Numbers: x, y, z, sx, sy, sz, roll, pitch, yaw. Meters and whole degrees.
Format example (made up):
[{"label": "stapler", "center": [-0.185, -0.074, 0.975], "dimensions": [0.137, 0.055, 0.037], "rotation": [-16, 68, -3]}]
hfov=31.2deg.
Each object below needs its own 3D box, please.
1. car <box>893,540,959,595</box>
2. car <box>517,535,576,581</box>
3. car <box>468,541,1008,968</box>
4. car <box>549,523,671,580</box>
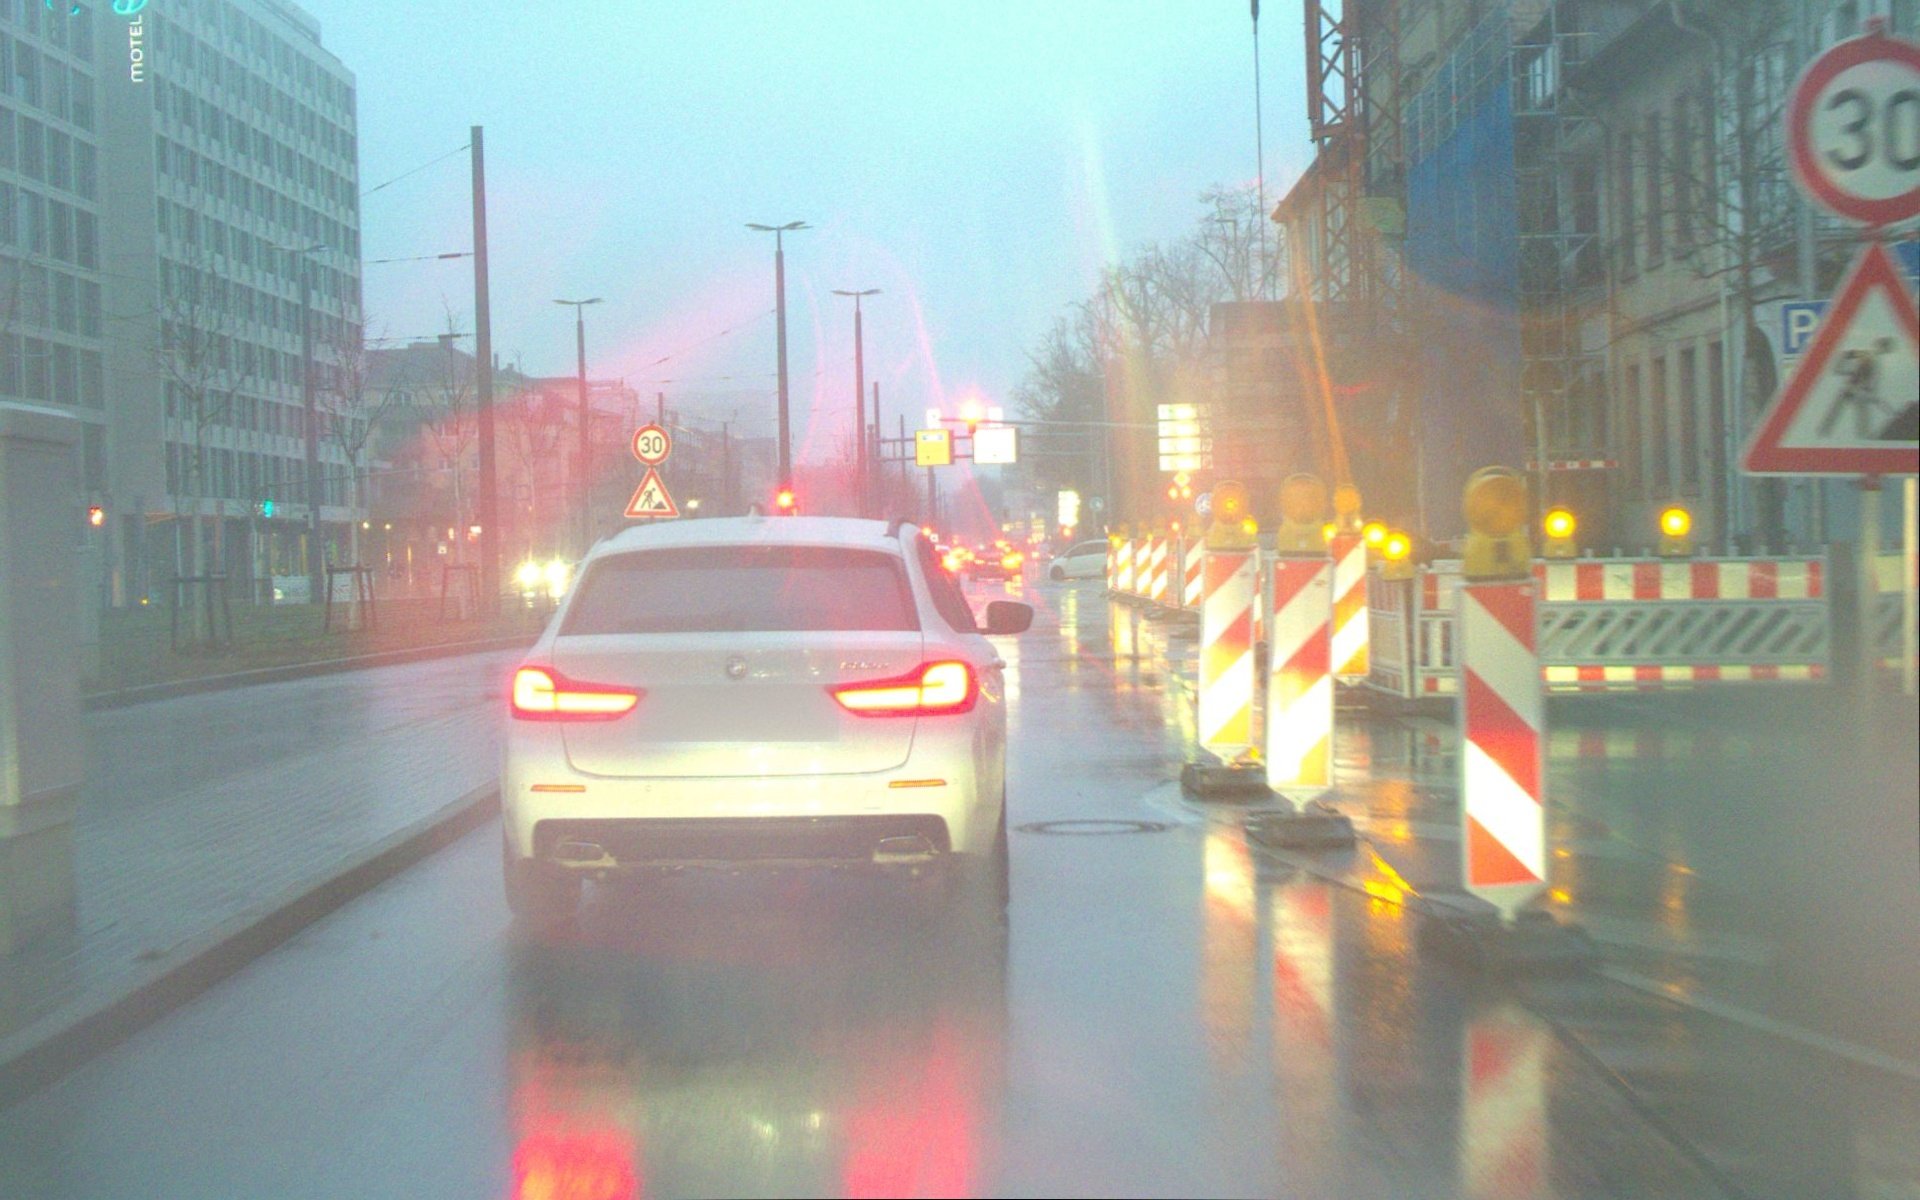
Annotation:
[{"label": "car", "center": [-1.019, -1.011, 104.725], "dimensions": [1.901, 1.636, 4.000], "rotation": [-1, 1, 1]}, {"label": "car", "center": [-18.429, -1.887, 153.287], "dimensions": [1.993, 2.007, 4.538], "rotation": [-1, 1, 1]}, {"label": "car", "center": [-0.761, 0.496, 14.361], "dimensions": [1.852, 1.460, 4.947], "rotation": [-1, 1, 0]}, {"label": "car", "center": [-12.421, -1.708, 121.965], "dimensions": [3.986, 1.968, 2.001], "rotation": [-1, 1, -18]}]
